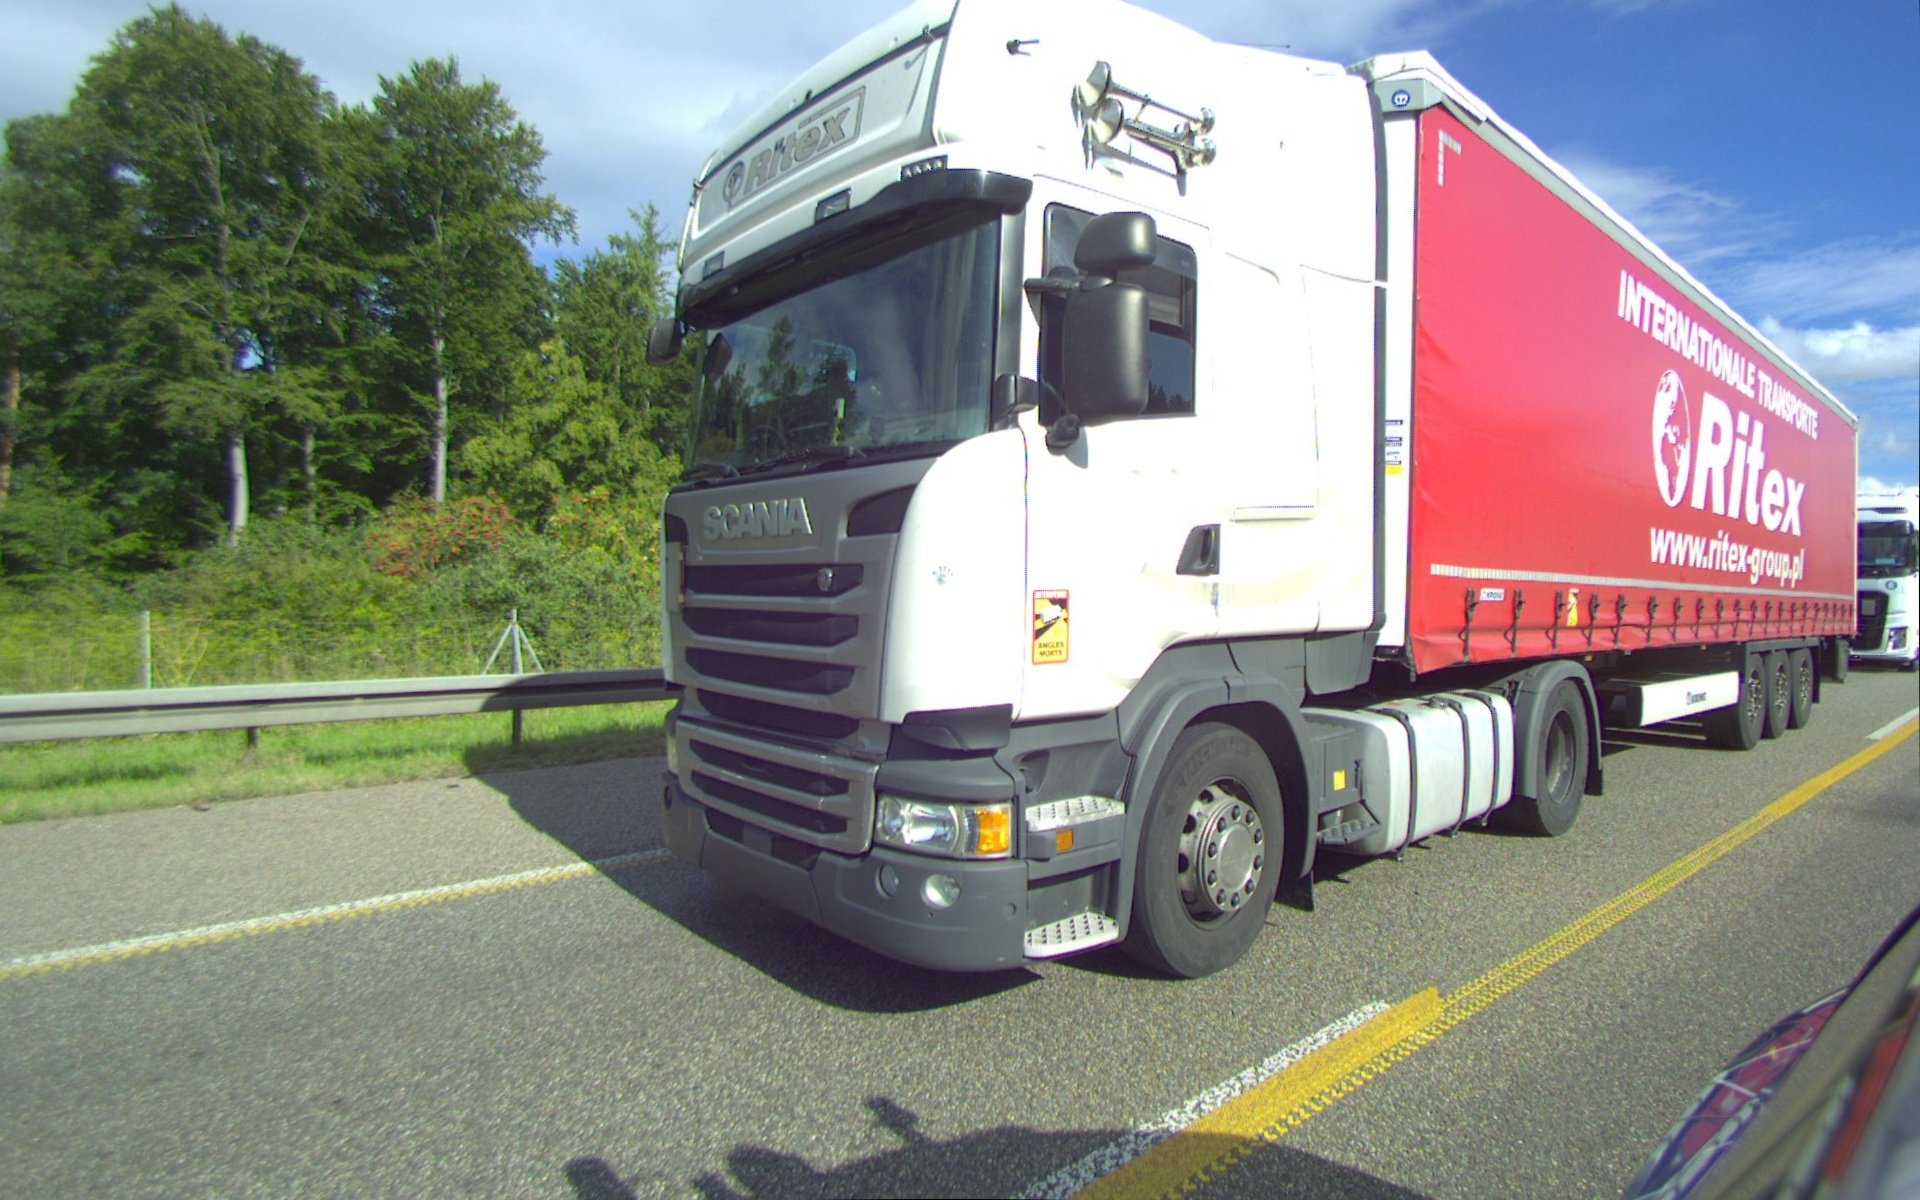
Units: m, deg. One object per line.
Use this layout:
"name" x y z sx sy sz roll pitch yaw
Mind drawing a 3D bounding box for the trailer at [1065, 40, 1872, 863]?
"trailer" 6.536 -0.752 10.345 13.184 4.019 2.704 0 0 -42

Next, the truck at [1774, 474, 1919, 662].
"truck" 21.006 -0.673 23.328 5.688 3.828 2.499 0 0 -40

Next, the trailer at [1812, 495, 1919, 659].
"trailer" 26.451 -0.554 27.961 11.920 3.822 2.476 0 0 -40

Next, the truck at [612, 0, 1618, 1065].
"truck" 1.305 -0.723 5.712 5.612 4.010 2.672 0 0 -42
